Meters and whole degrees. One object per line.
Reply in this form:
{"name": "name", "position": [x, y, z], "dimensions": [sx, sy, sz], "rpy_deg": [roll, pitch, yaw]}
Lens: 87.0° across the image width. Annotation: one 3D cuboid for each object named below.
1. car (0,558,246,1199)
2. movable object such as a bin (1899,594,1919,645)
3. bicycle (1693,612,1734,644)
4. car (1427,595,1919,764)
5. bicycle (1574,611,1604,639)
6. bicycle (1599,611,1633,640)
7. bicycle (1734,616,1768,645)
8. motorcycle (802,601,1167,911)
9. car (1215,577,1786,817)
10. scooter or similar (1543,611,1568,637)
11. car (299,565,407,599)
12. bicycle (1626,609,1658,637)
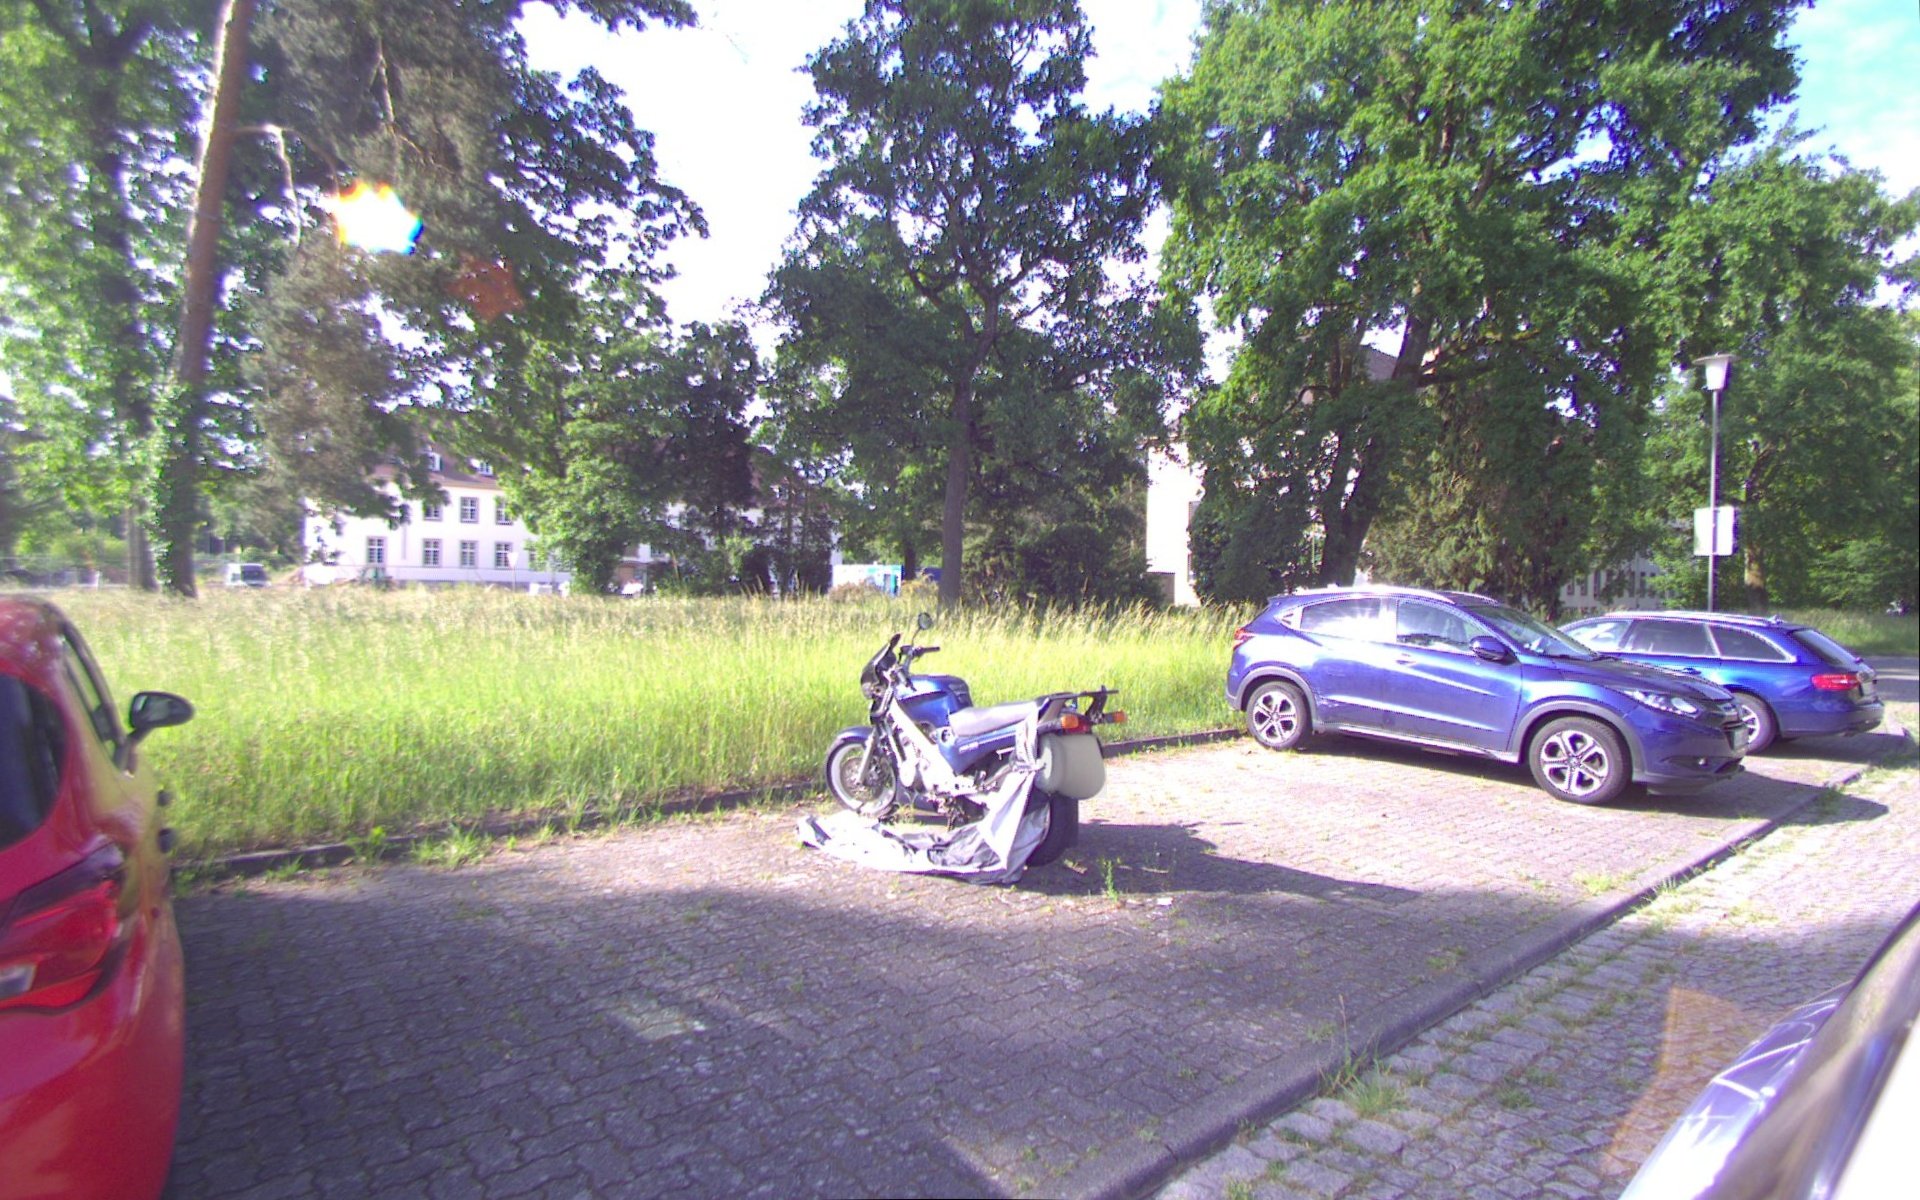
{"name": "car", "position": [-3.100, 0.641, 2.717], "dimensions": [1.616, 1.497, 3.836], "rpy_deg": [1, 2, -40]}
{"name": "movable object such as a bin", "position": [35.463, 0.744, 34.279], "dimensions": [1.958, 1.781, 4.950], "rpy_deg": [1, 1, -25]}
{"name": "bicycle", "position": [25.848, 0.954, 34.718], "dimensions": [1.231, 1.029, 0.711], "rpy_deg": [1, 1, -33]}
{"name": "car", "position": [8.159, 0.762, 12.013], "dimensions": [1.682, 1.425, 4.464], "rpy_deg": [1, 2, -37]}
{"name": "bicycle", "position": [23.588, 0.923, 37.927], "dimensions": [1.008, 1.029, 0.619], "rpy_deg": [1, 1, -37]}
{"name": "bicycle", "position": [24.351, 0.939, 37.577], "dimensions": [1.007, 1.029, 0.711], "rpy_deg": [1, 1, -33]}
{"name": "bicycle", "position": [26.758, 1.024, 34.236], "dimensions": [1.121, 0.946, 0.746], "rpy_deg": [1, 1, -43]}
{"name": "motorcycle", "position": [0.020, 0.720, 5.768], "dimensions": [0.713, 1.336, 2.305], "rpy_deg": [1, 2, -40]}
{"name": "car", "position": [4.567, 0.635, 9.103], "dimensions": [1.720, 1.611, 4.185], "rpy_deg": [1, 1, -40]}
{"name": "scooter or similar", "position": [22.497, 0.890, 38.216], "dimensions": [0.767, 0.941, 0.257], "rpy_deg": [2, 0, 45]}
{"name": "car", "position": [-41.106, -1.218, 68.695], "dimensions": [5.888, 2.198, 2.381], "rpy_deg": [0, 1, -18]}
{"name": "bicycle", "position": [27.246, 0.913, 40.430], "dimensions": [0.700, 1.029, 1.023], "rpy_deg": [1, 1, 12]}
